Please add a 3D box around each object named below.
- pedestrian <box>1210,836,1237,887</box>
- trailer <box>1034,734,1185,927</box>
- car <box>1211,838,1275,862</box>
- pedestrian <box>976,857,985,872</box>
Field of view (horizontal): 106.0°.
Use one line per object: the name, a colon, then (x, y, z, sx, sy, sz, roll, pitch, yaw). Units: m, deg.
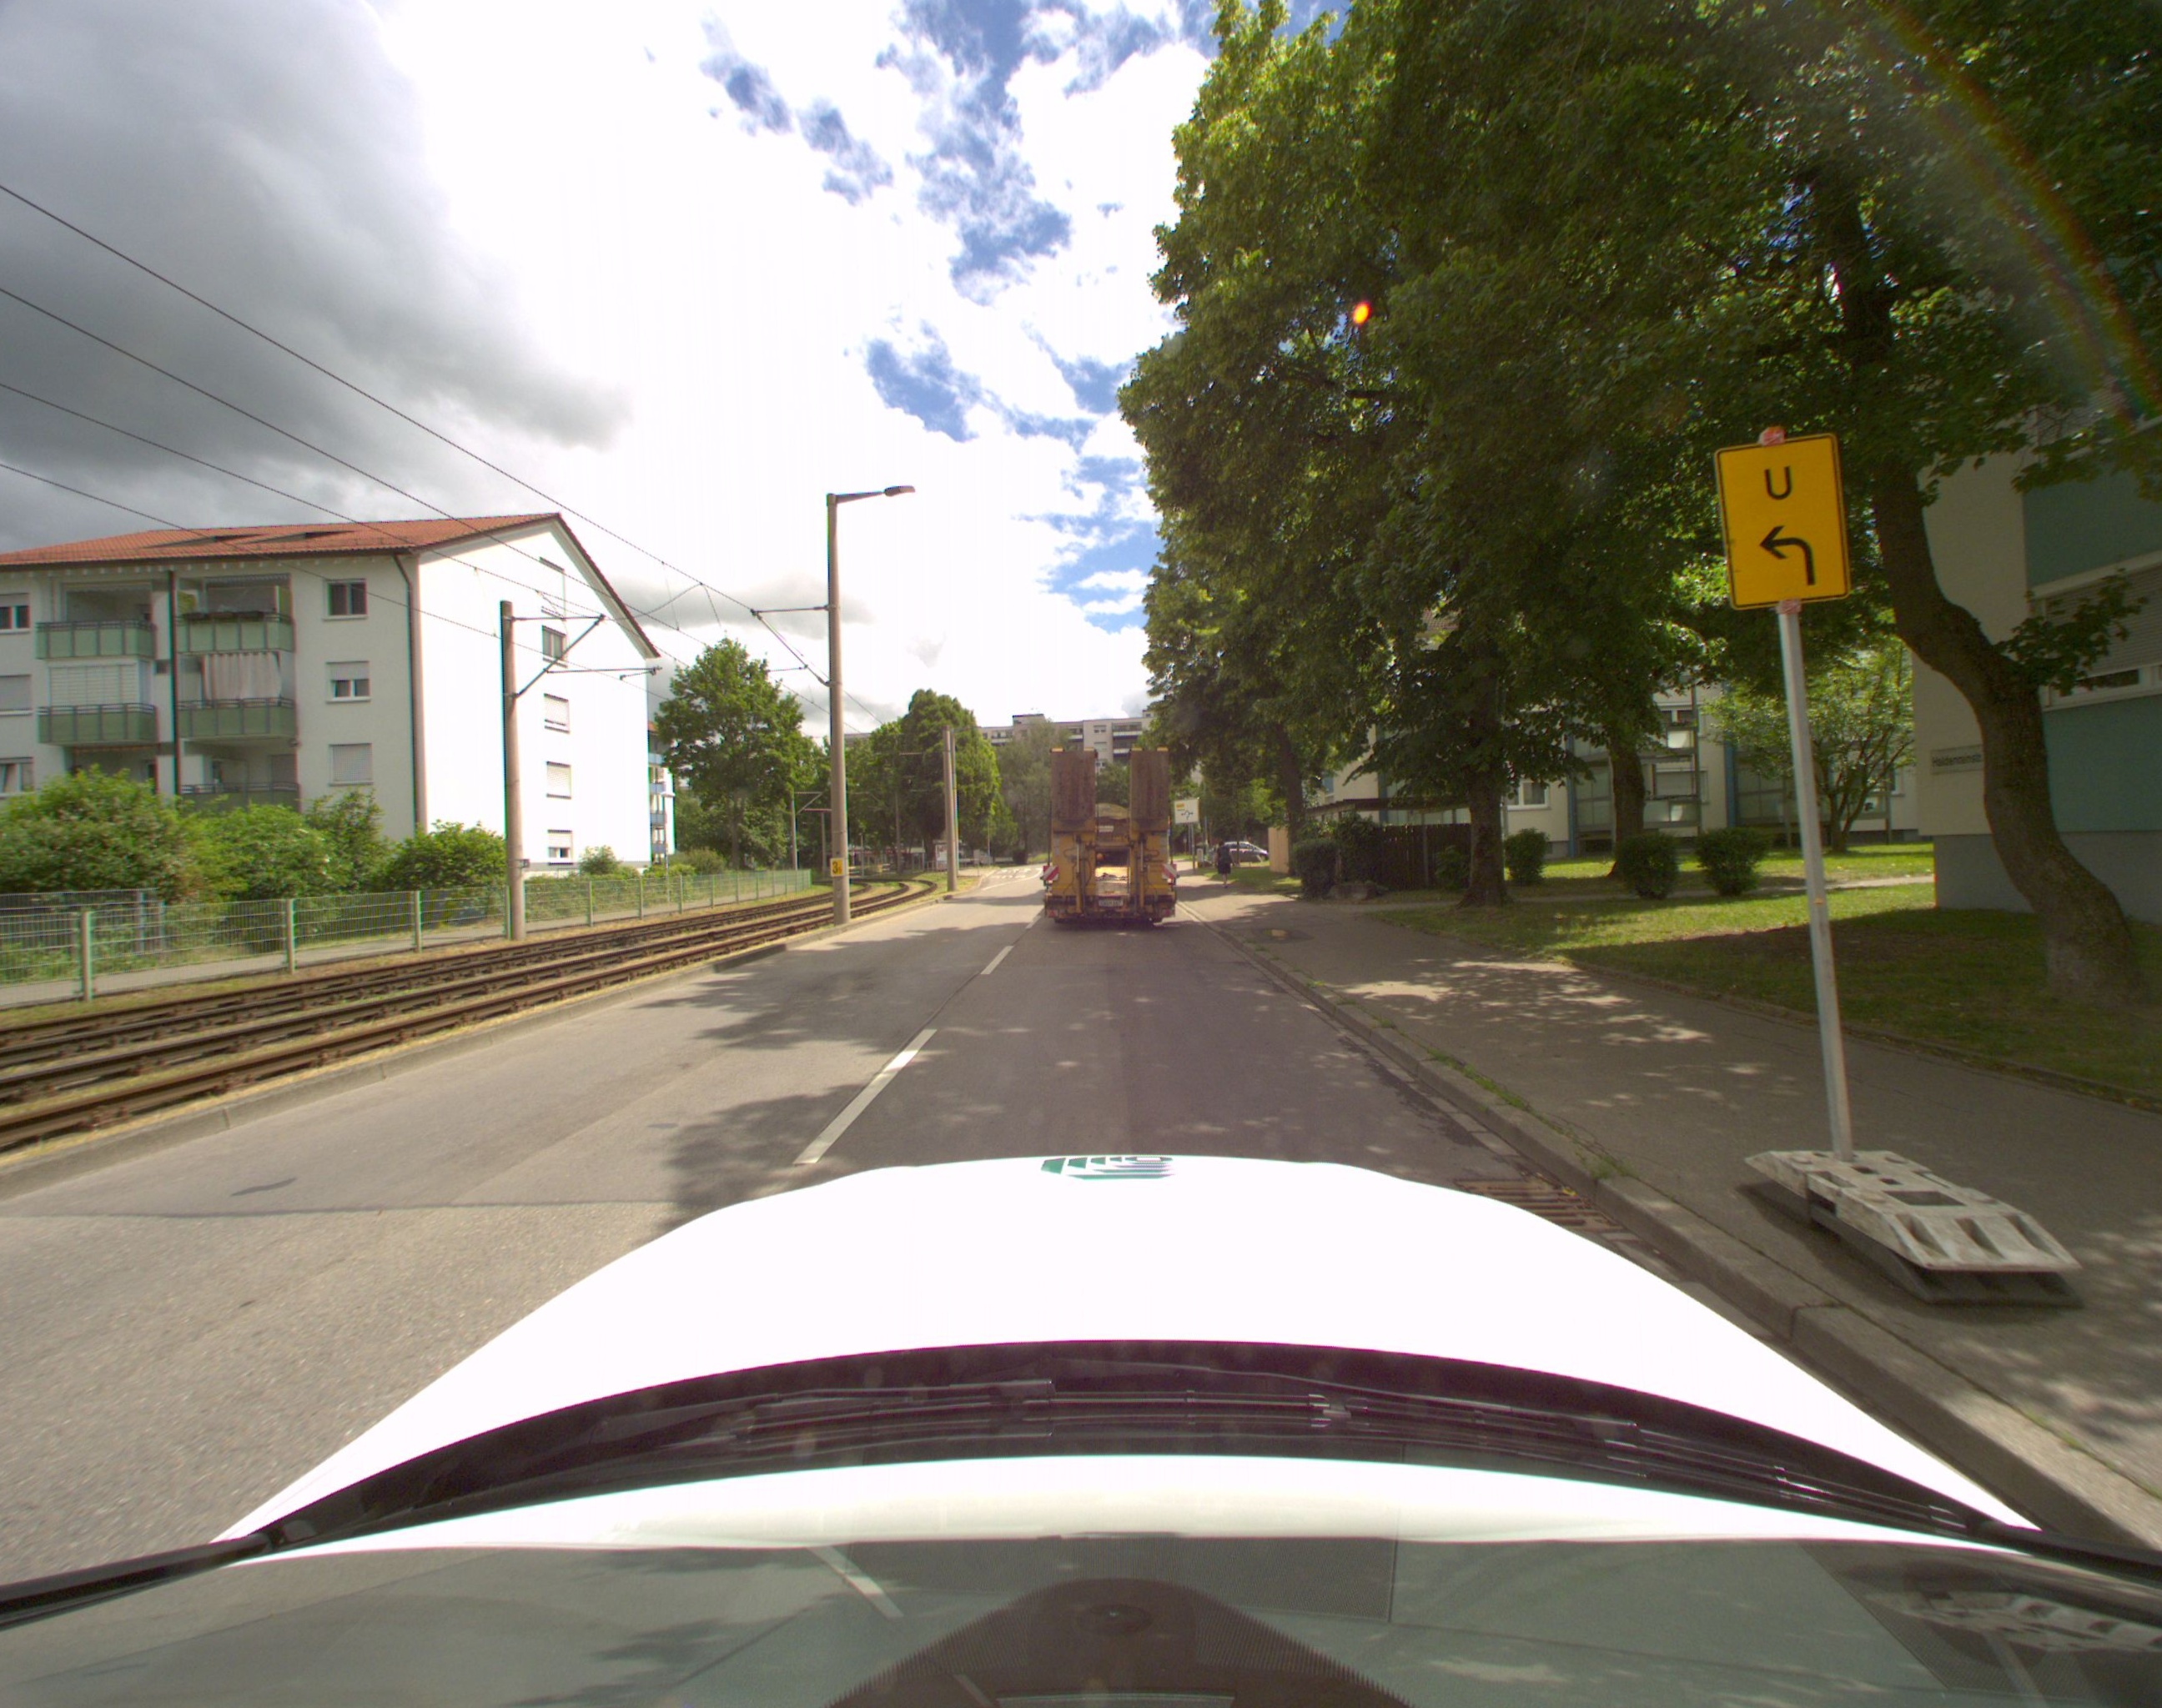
pedestrian: (4.924, 0.249, 28.146, 0.715, 1.706, 0.766, -3, 0, 1)
trailer: (0.589, -0.481, 21.643, 2.818, 3.645, 12.354, -1, 0, 0)
car: (11.120, -0.268, 56.002, 3.988, 1.561, 1.753, -1, 0, -11)
pedestrian: (-13.415, 1.445, 109.118, 0.913, 2.013, 0.953, -1, 0, -29)
